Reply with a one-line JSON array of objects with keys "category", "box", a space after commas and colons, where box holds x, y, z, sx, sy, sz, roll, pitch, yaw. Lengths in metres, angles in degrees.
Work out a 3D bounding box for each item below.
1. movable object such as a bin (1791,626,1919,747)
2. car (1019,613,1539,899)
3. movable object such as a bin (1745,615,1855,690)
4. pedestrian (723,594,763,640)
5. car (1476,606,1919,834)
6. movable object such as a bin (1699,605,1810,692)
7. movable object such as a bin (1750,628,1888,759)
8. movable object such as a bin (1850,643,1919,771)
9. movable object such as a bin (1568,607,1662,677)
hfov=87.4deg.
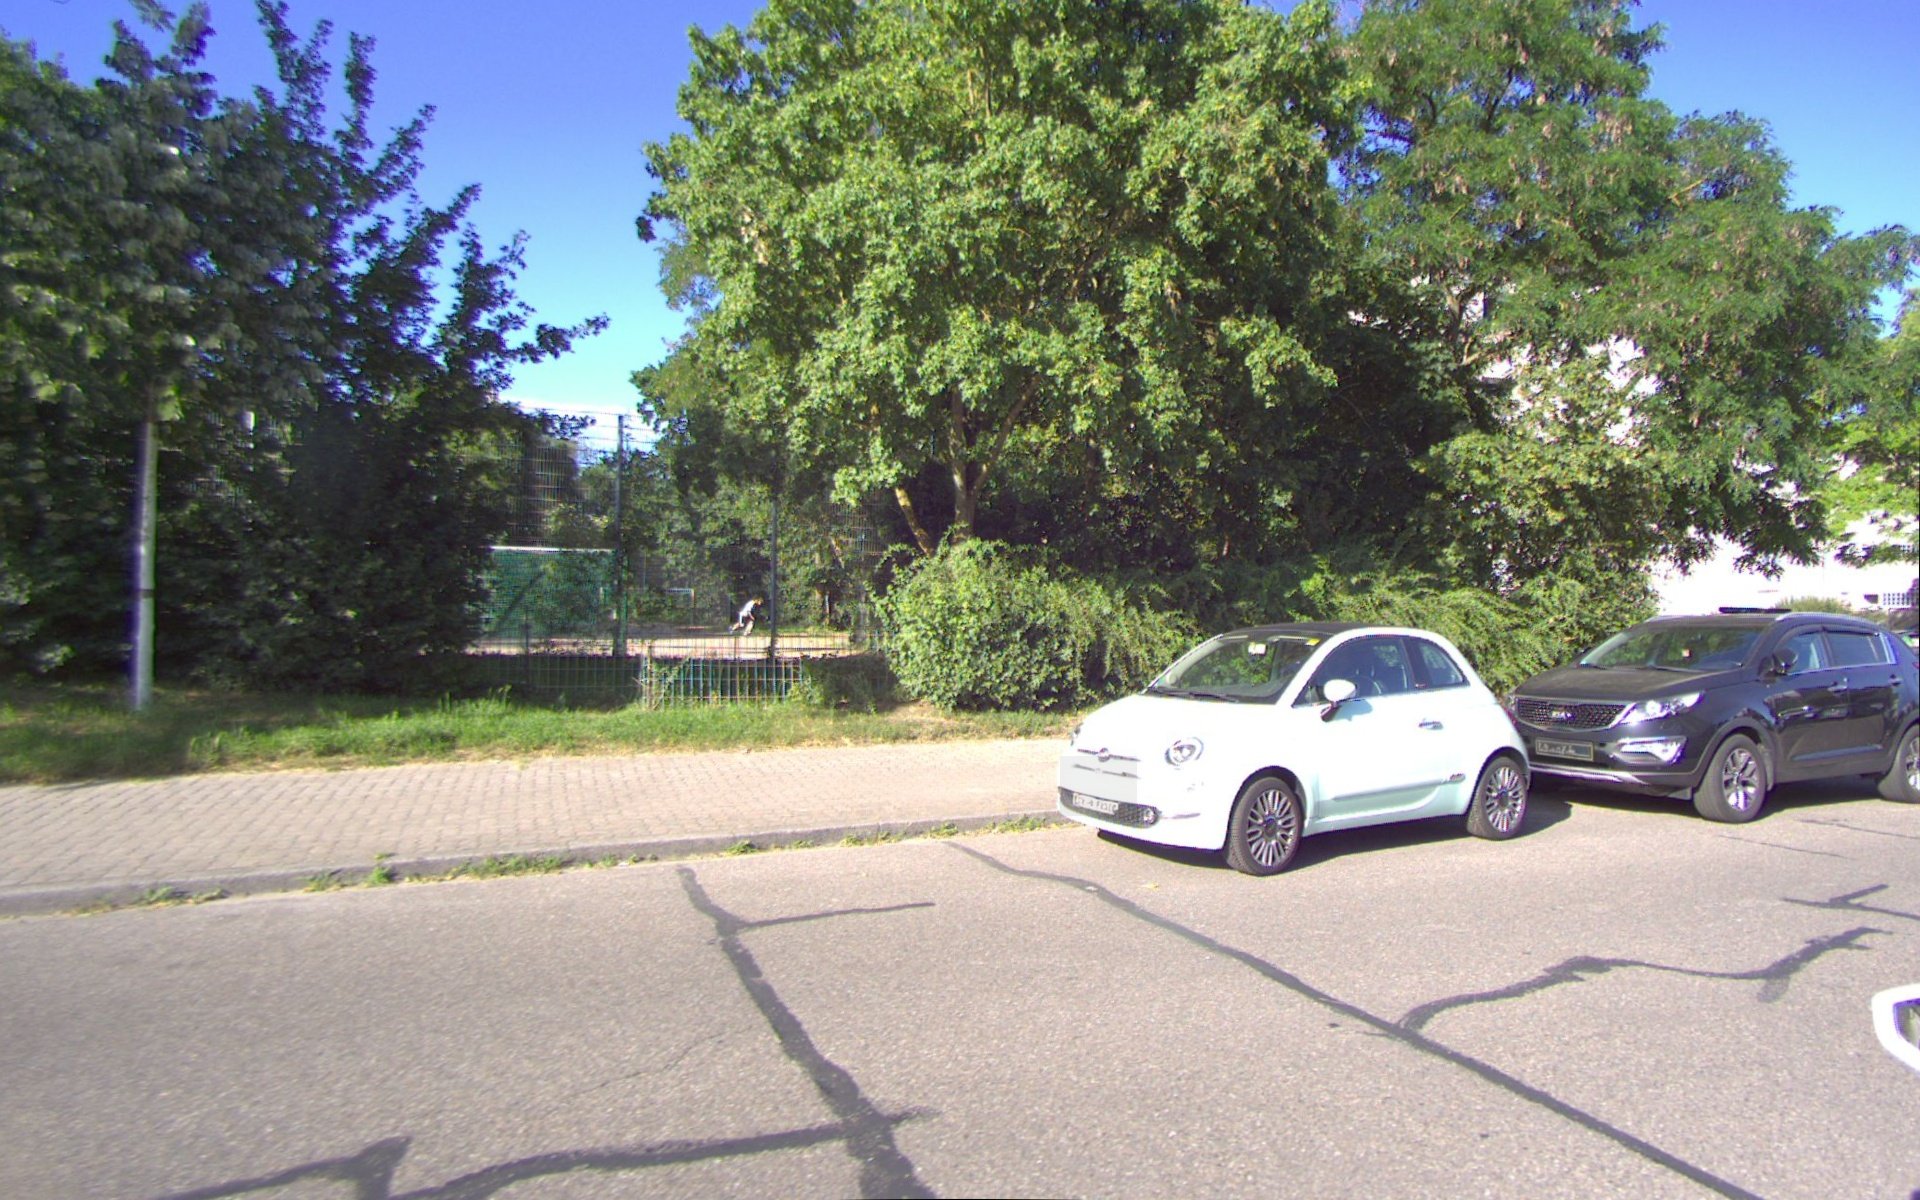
[{"category": "movable object such as a bin", "box": [11.401, 1.055, 12.766, 0.884, 1.419, 1.055, 1, 1, -32]}, {"category": "car", "box": [2.268, 0.891, 7.025, 3.378, 1.548, 1.619, 1, -1, -30]}, {"category": "movable object such as a bin", "box": [16.671, 1.020, 19.959, 1.245, 1.420, 1.272, 1, -1, -25]}, {"category": "pedestrian", "box": [-7.605, 0.589, 35.162, 1.242, 1.580, 1.173, 1, 0, -18]}, {"category": "car", "box": [6.803, 0.931, 8.952, 4.191, 1.660, 1.670, 1, -2, -24]}, {"category": "movable object such as a bin", "box": [15.057, 0.901, 19.063, 1.264, 1.572, 1.253, 1, -1, -28]}, {"category": "movable object such as a bin", "box": [10.559, 1.112, 12.370, 0.884, 1.487, 1.055, 1, 1, -32]}, {"category": "movable object such as a bin", "box": [10.785, 1.173, 11.312, 1.250, 1.357, 0.608, 1, 0, -20]}, {"category": "movable object such as a bin", "box": [14.574, 0.924, 22.373, 1.261, 1.509, 1.256, 1, -1, -21]}]
